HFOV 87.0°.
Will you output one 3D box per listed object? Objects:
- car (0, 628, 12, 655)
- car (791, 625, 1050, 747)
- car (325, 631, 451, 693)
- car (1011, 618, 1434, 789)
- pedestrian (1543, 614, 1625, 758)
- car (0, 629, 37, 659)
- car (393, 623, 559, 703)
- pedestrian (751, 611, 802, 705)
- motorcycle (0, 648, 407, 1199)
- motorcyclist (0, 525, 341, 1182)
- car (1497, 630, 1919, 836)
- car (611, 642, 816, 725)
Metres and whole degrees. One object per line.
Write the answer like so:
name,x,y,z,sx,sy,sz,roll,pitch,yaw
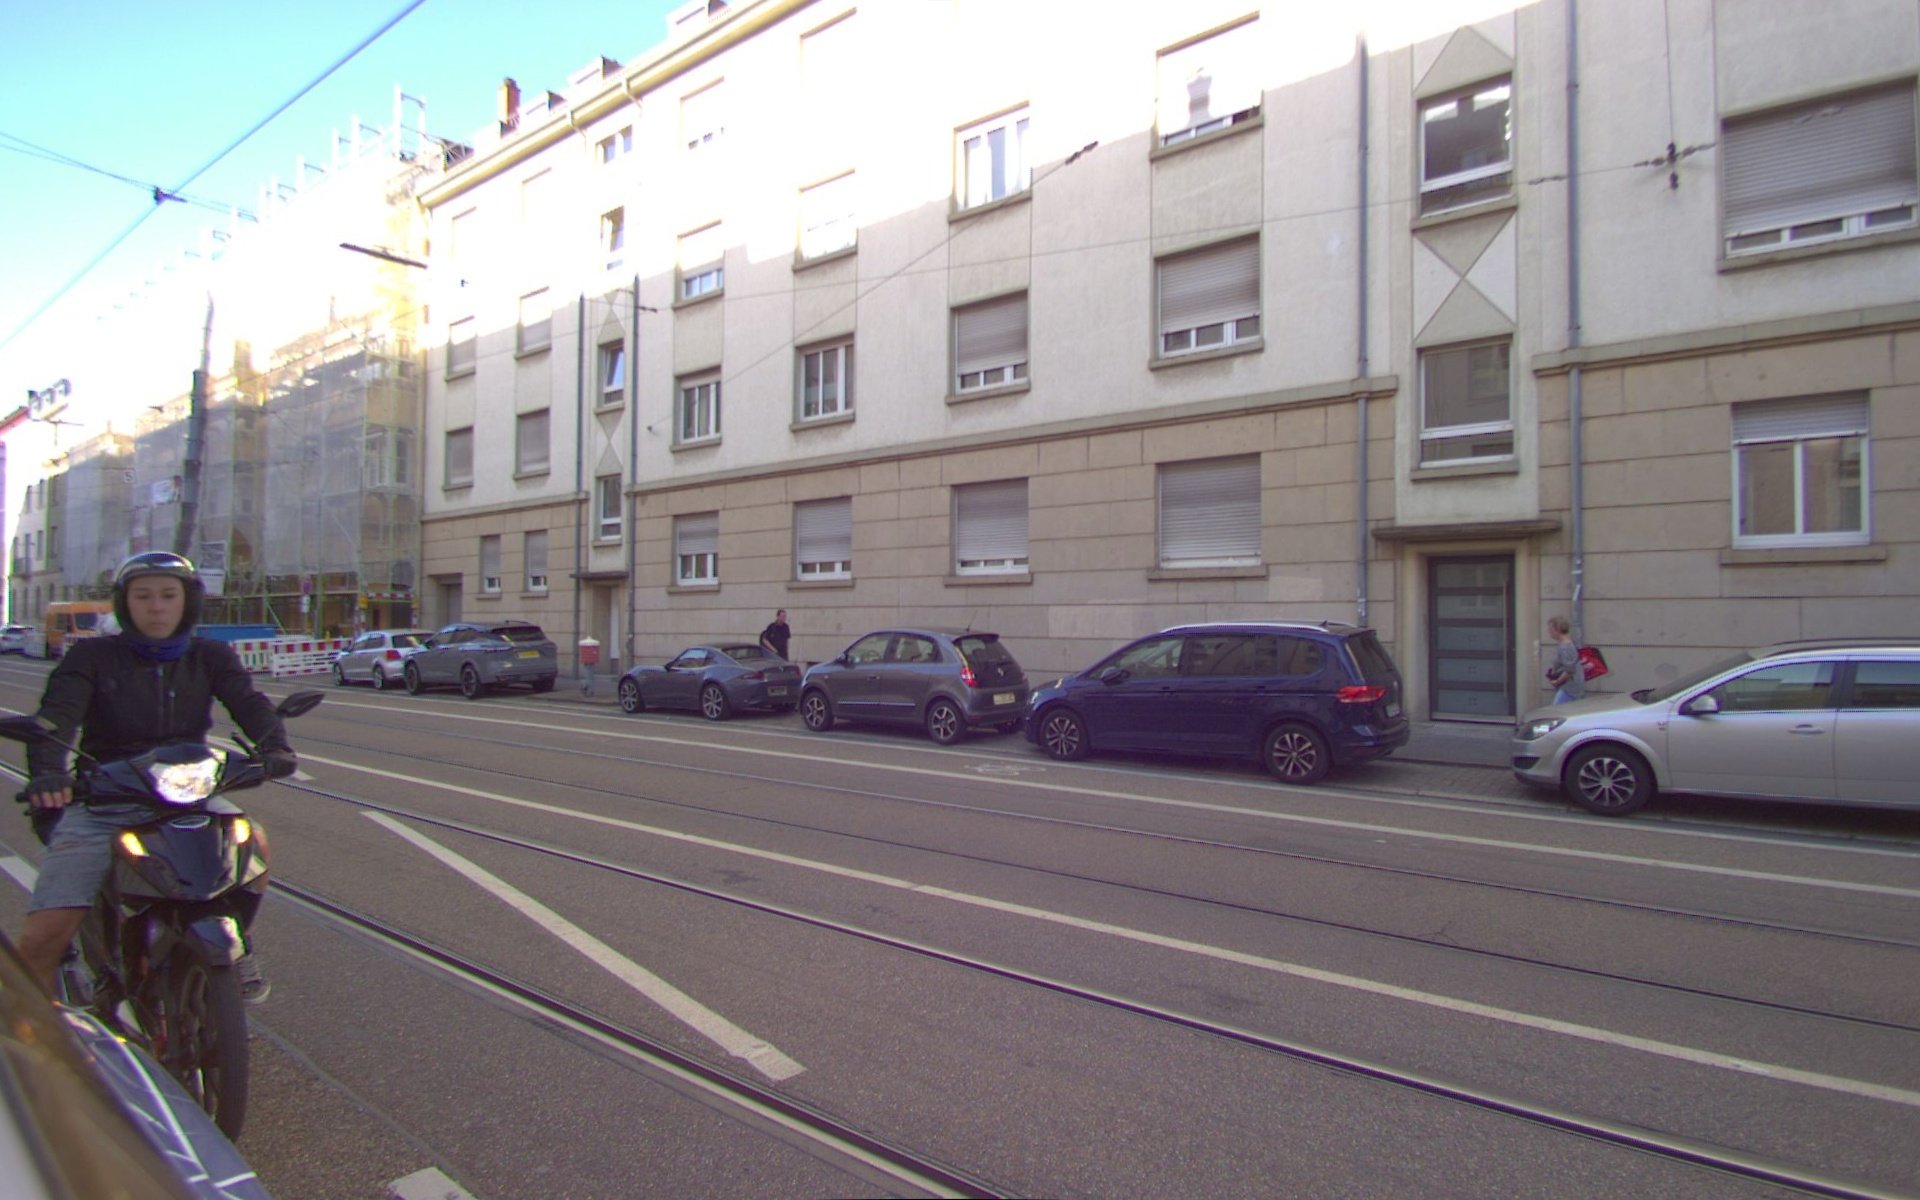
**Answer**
car,-54.581,2.342,56.819,3.964,1.498,1.662,-2,-1,42
car,-0.629,1.140,14.656,3.535,1.539,1.659,-1,-1,38
car,-14.385,1.508,25.398,3.506,1.423,1.524,-1,-1,38
car,2.892,1.039,11.677,4.383,1.611,1.779,-1,-1,38
pedestrian,7.016,0.940,11.379,0.693,1.553,0.563,-2,-3,39
car,-50.066,2.286,53.343,3.964,1.498,1.662,-2,-1,42
car,-10.883,1.343,22.661,4.201,1.611,1.675,-1,-1,38
pedestrian,-3.448,1.082,19.030,0.729,1.722,0.597,-2,-3,39
motorcycle,-2.640,0.823,3.238,2.272,1.302,0.781,-2,-3,41
motorcyclist,-2.543,0.661,3.161,0.899,1.668,0.781,-2,-3,41
car,7.125,1.008,8.503,4.383,1.489,1.779,-1,-1,38
car,-4.315,1.374,17.502,3.681,1.244,1.502,-1,-1,38
